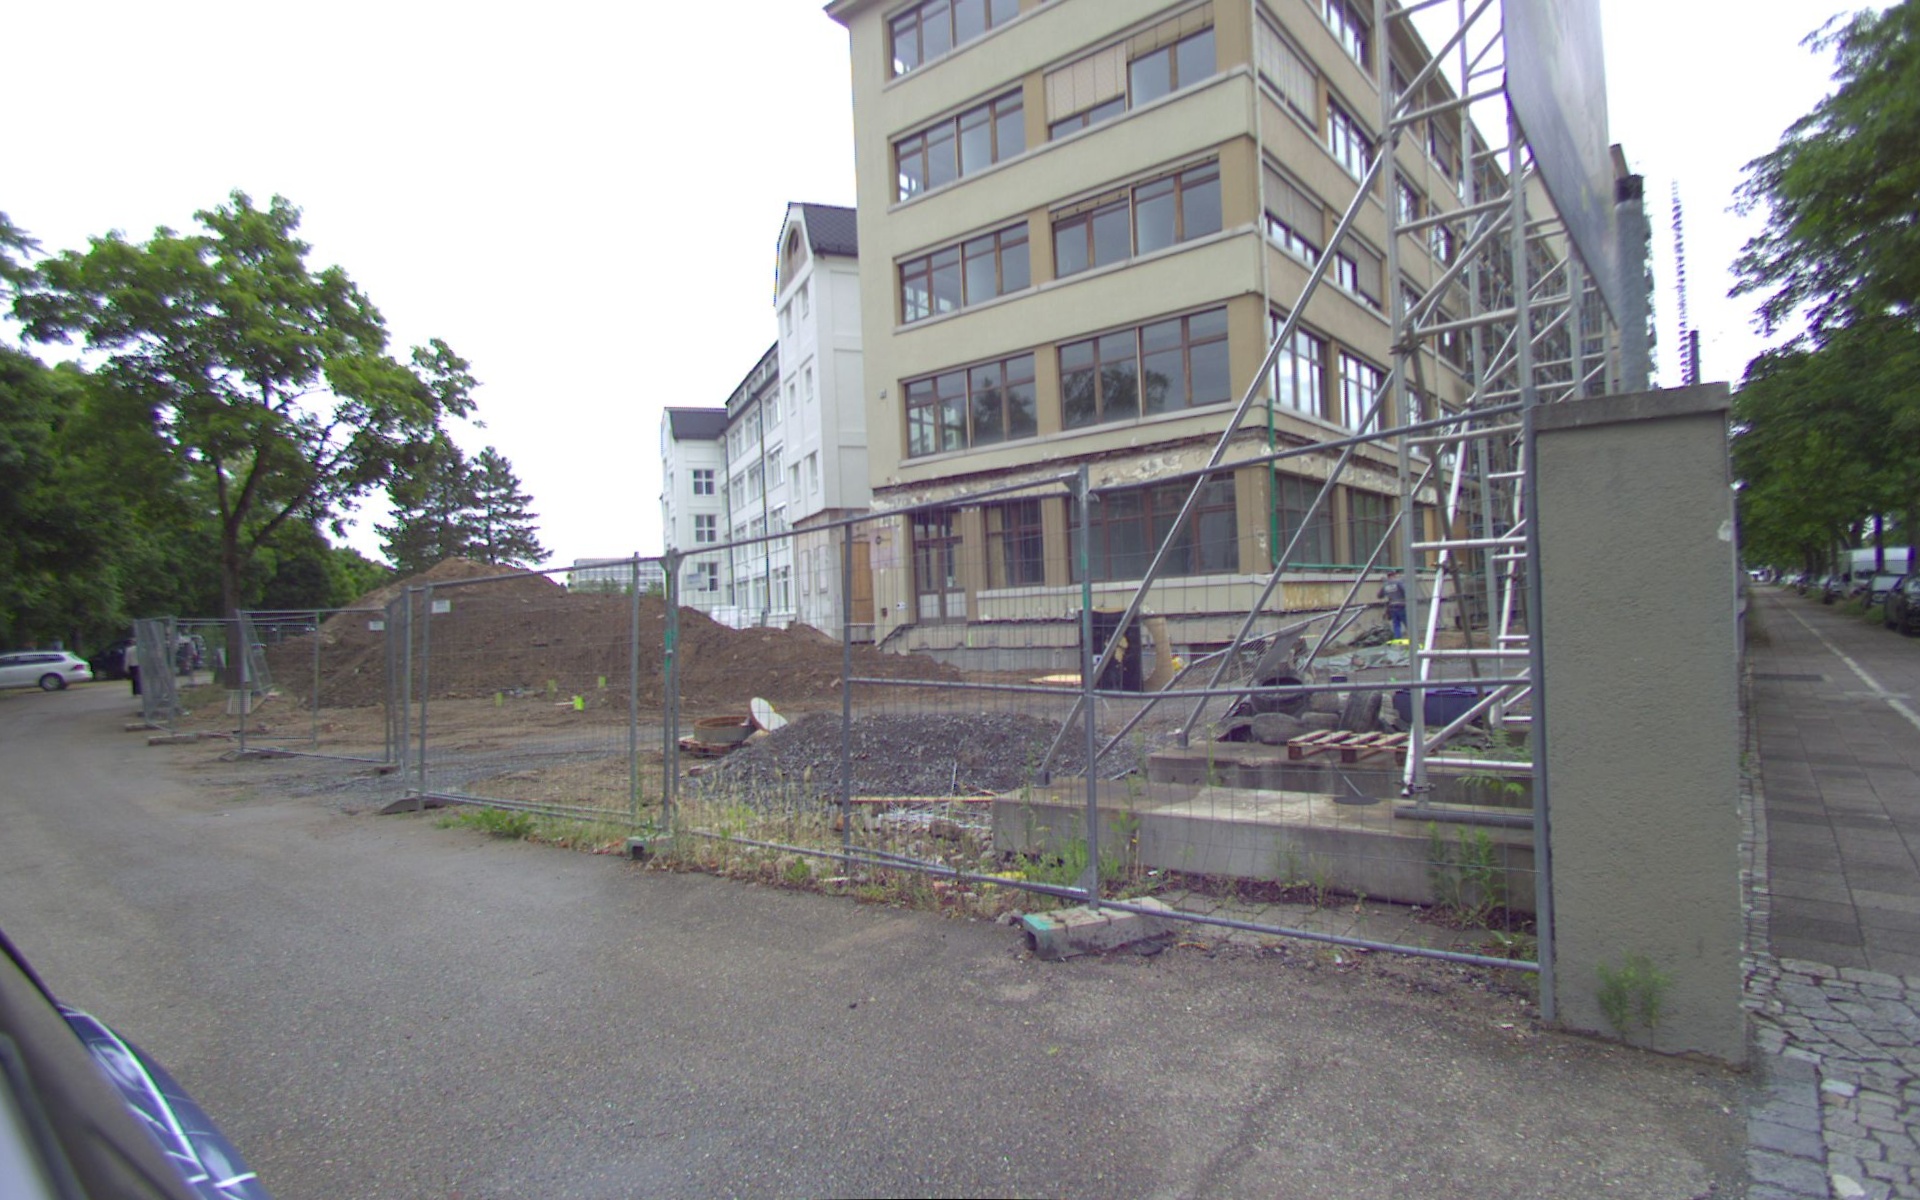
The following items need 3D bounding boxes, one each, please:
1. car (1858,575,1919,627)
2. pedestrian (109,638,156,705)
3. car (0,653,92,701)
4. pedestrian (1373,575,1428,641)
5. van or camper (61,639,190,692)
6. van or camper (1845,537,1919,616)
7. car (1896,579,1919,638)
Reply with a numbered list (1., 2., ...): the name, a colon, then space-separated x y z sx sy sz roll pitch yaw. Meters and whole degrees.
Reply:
1. car: 26.216 -0.014 27.819 1.997 1.320 3.948 -4 -1 38
2. pedestrian: -22.931 1.967 28.053 0.657 1.795 0.747 -3 -1 16
3. car: -35.023 2.907 37.772 3.822 1.586 1.756 -2 -1 -35
4. pedestrian: 10.081 0.189 23.148 0.979 1.448 0.921 -3 -2 31
5. van or camper: -40.509 3.140 49.264 4.423 2.275 2.006 -2 -1 -23
6. van or camper: 35.022 -0.858 38.268 2.001 2.773 3.942 -4 -1 44
7. car: 23.927 0.123 24.116 1.997 1.320 3.948 -4 -1 38
